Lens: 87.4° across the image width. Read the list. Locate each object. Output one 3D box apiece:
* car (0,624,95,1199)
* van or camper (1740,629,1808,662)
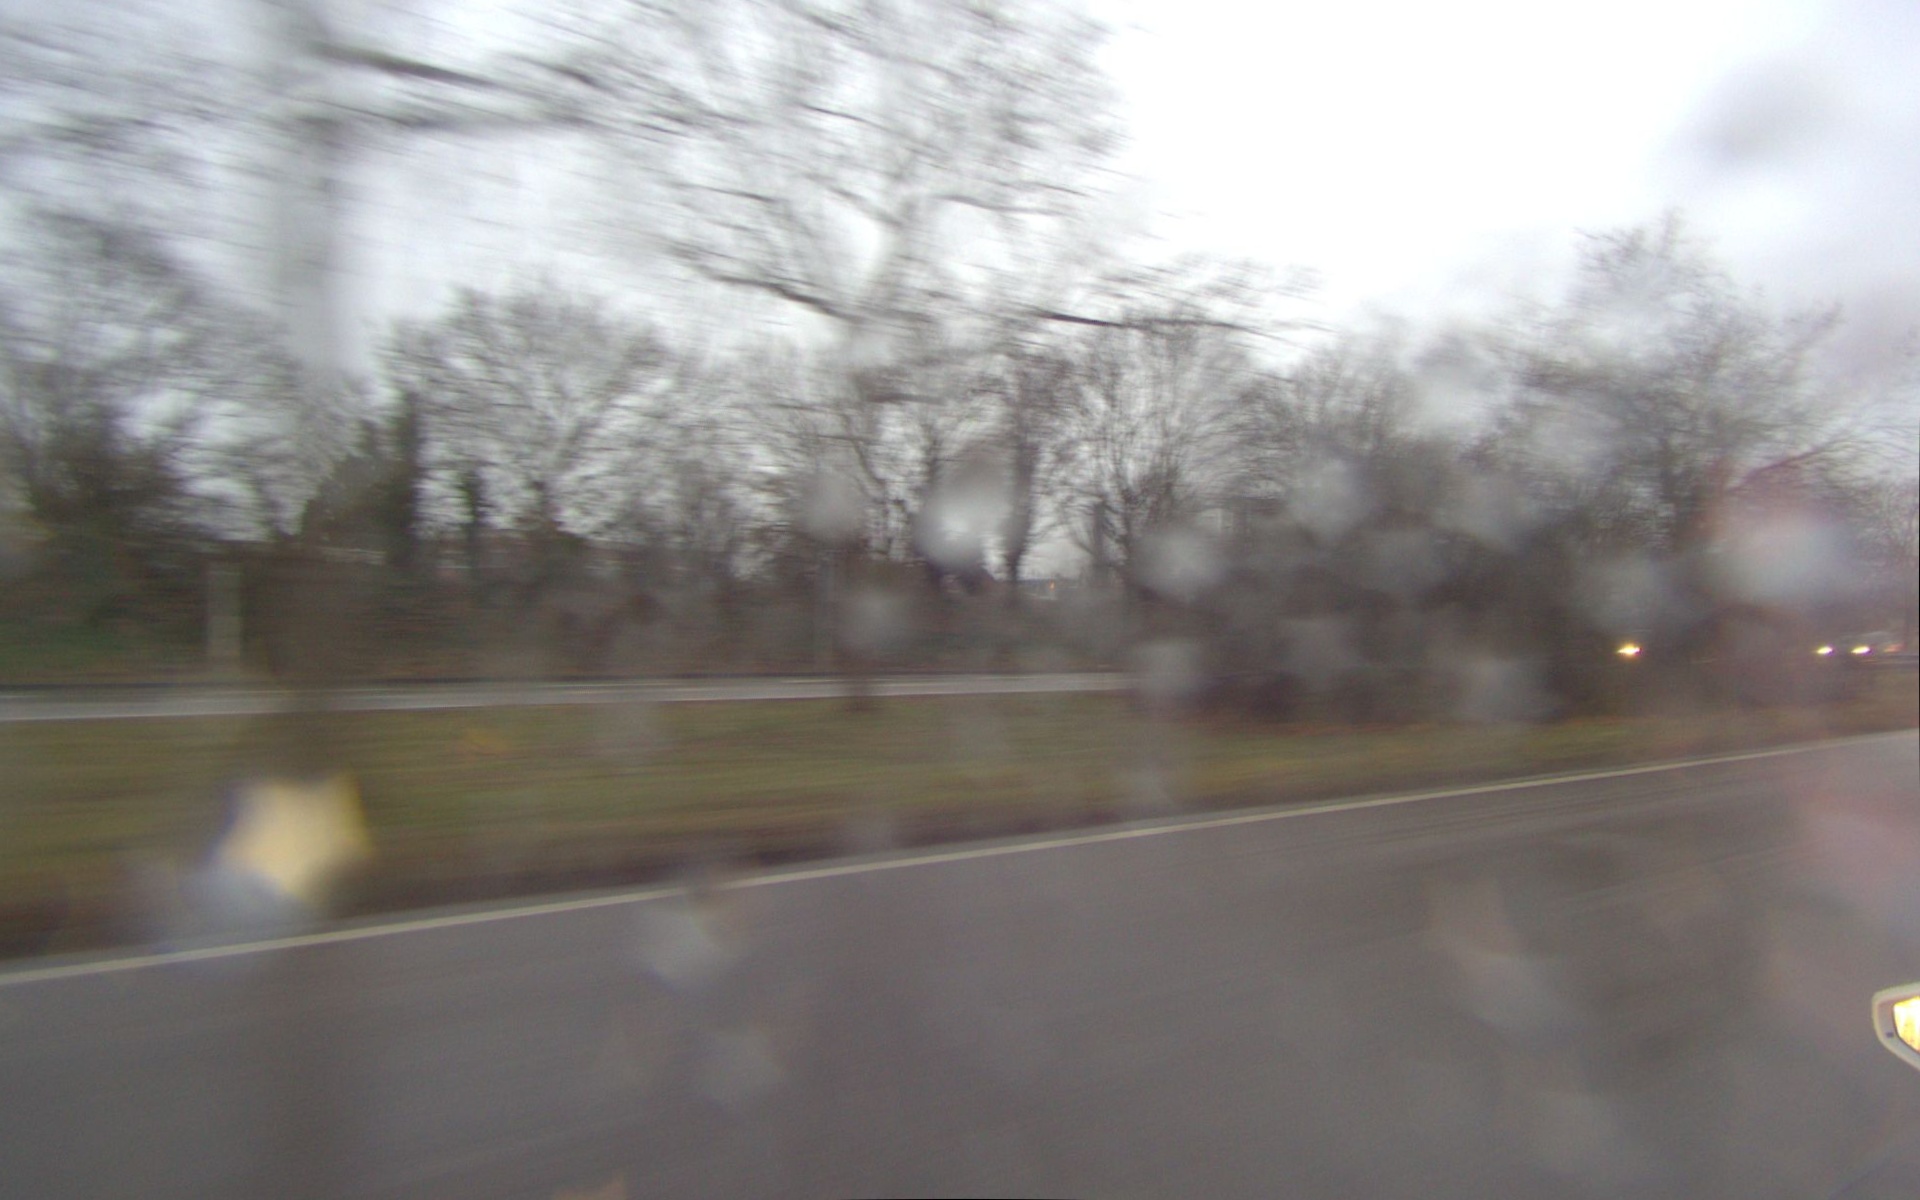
[{"bbox_3d":[-4.118,0.755,1.347,4.175,1.459,1.716,1,-1,-30],"label":"car"},{"bbox_3d":[46.956,2.641,57.920,4.158,1.807,1.642,2,-2,-30],"label":"van or camper"}]
